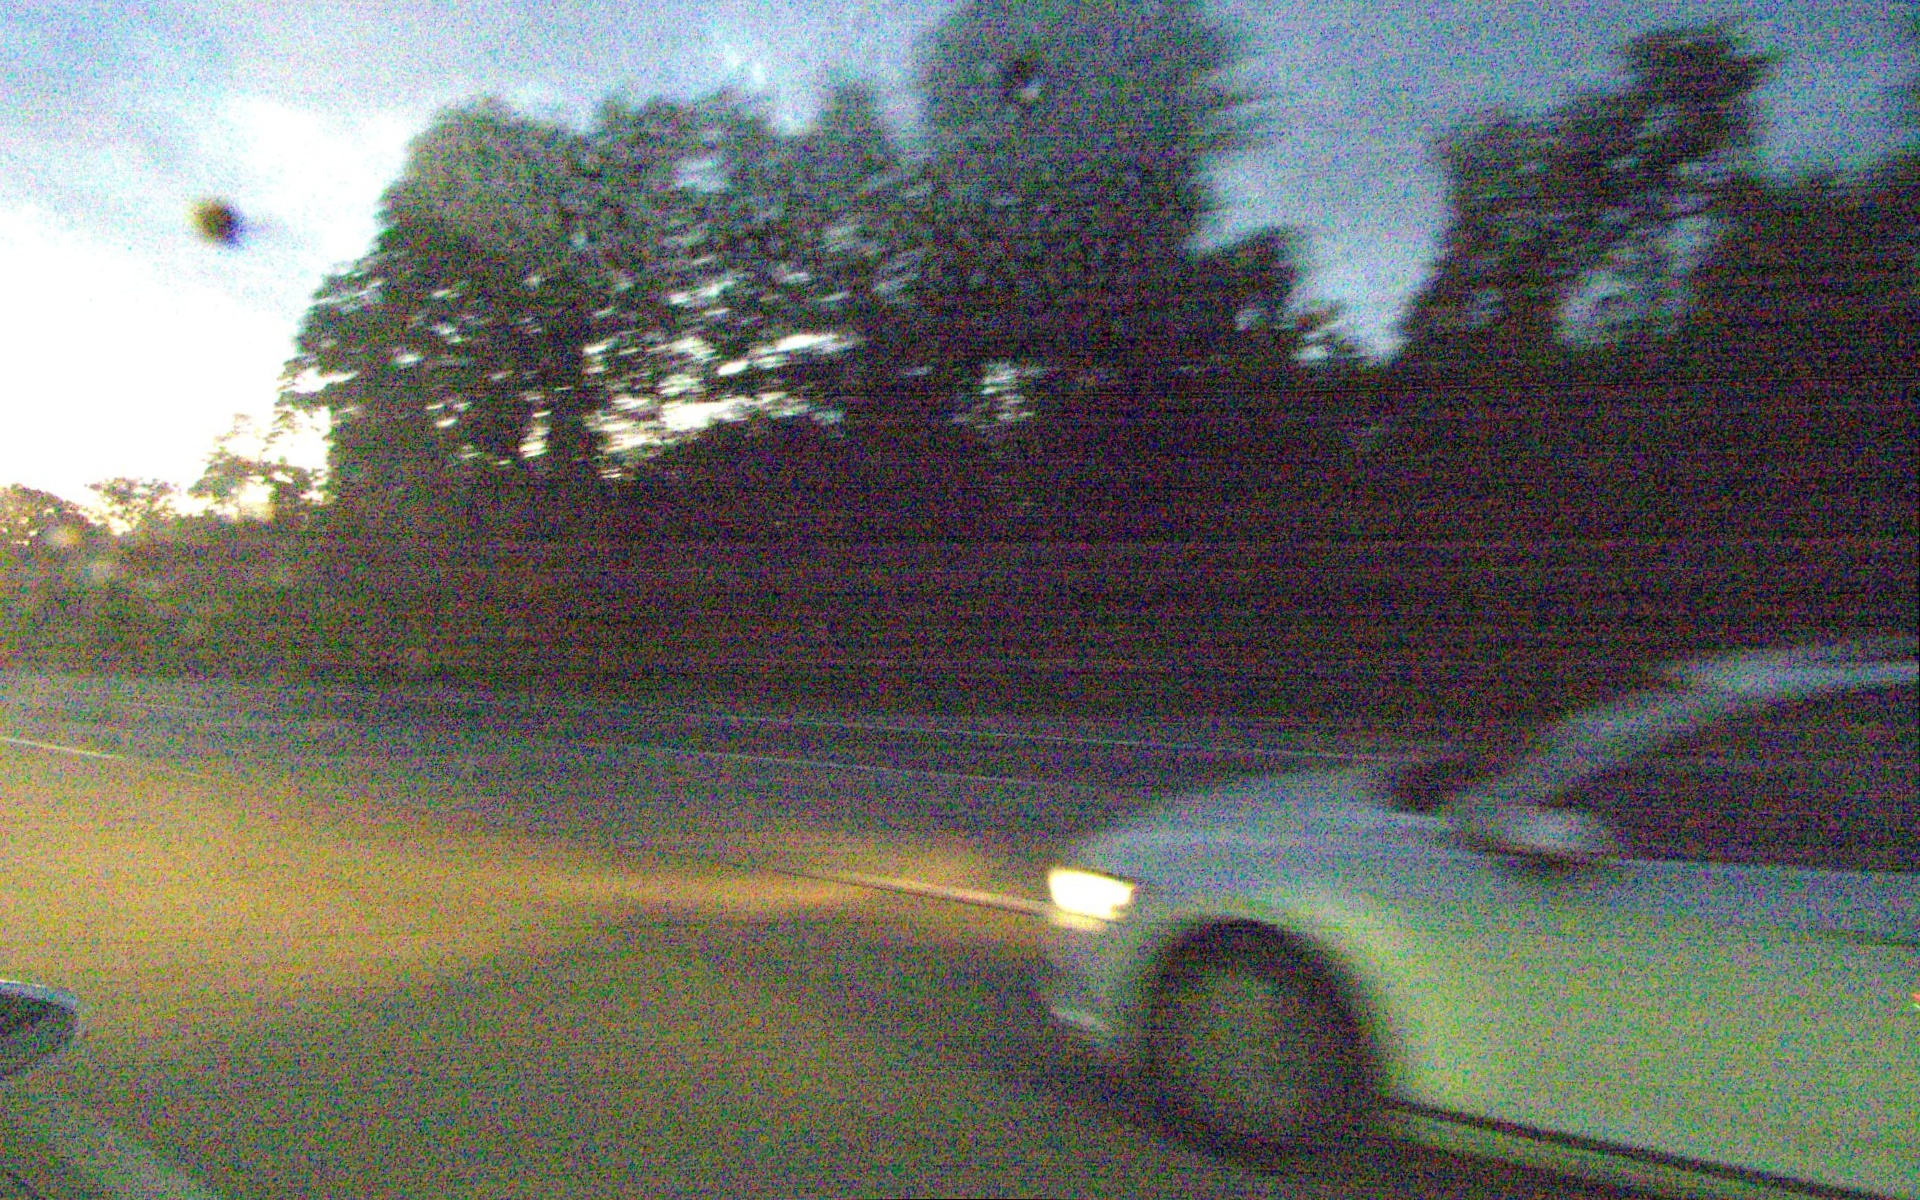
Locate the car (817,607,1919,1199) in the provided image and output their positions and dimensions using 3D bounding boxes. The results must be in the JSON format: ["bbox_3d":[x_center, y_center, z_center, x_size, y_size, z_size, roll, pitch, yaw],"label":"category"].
[{"bbox_3d":[2.088,0.787,3.078,5.058,1.485,1.806,0,-1,32],"label":"car"}]
